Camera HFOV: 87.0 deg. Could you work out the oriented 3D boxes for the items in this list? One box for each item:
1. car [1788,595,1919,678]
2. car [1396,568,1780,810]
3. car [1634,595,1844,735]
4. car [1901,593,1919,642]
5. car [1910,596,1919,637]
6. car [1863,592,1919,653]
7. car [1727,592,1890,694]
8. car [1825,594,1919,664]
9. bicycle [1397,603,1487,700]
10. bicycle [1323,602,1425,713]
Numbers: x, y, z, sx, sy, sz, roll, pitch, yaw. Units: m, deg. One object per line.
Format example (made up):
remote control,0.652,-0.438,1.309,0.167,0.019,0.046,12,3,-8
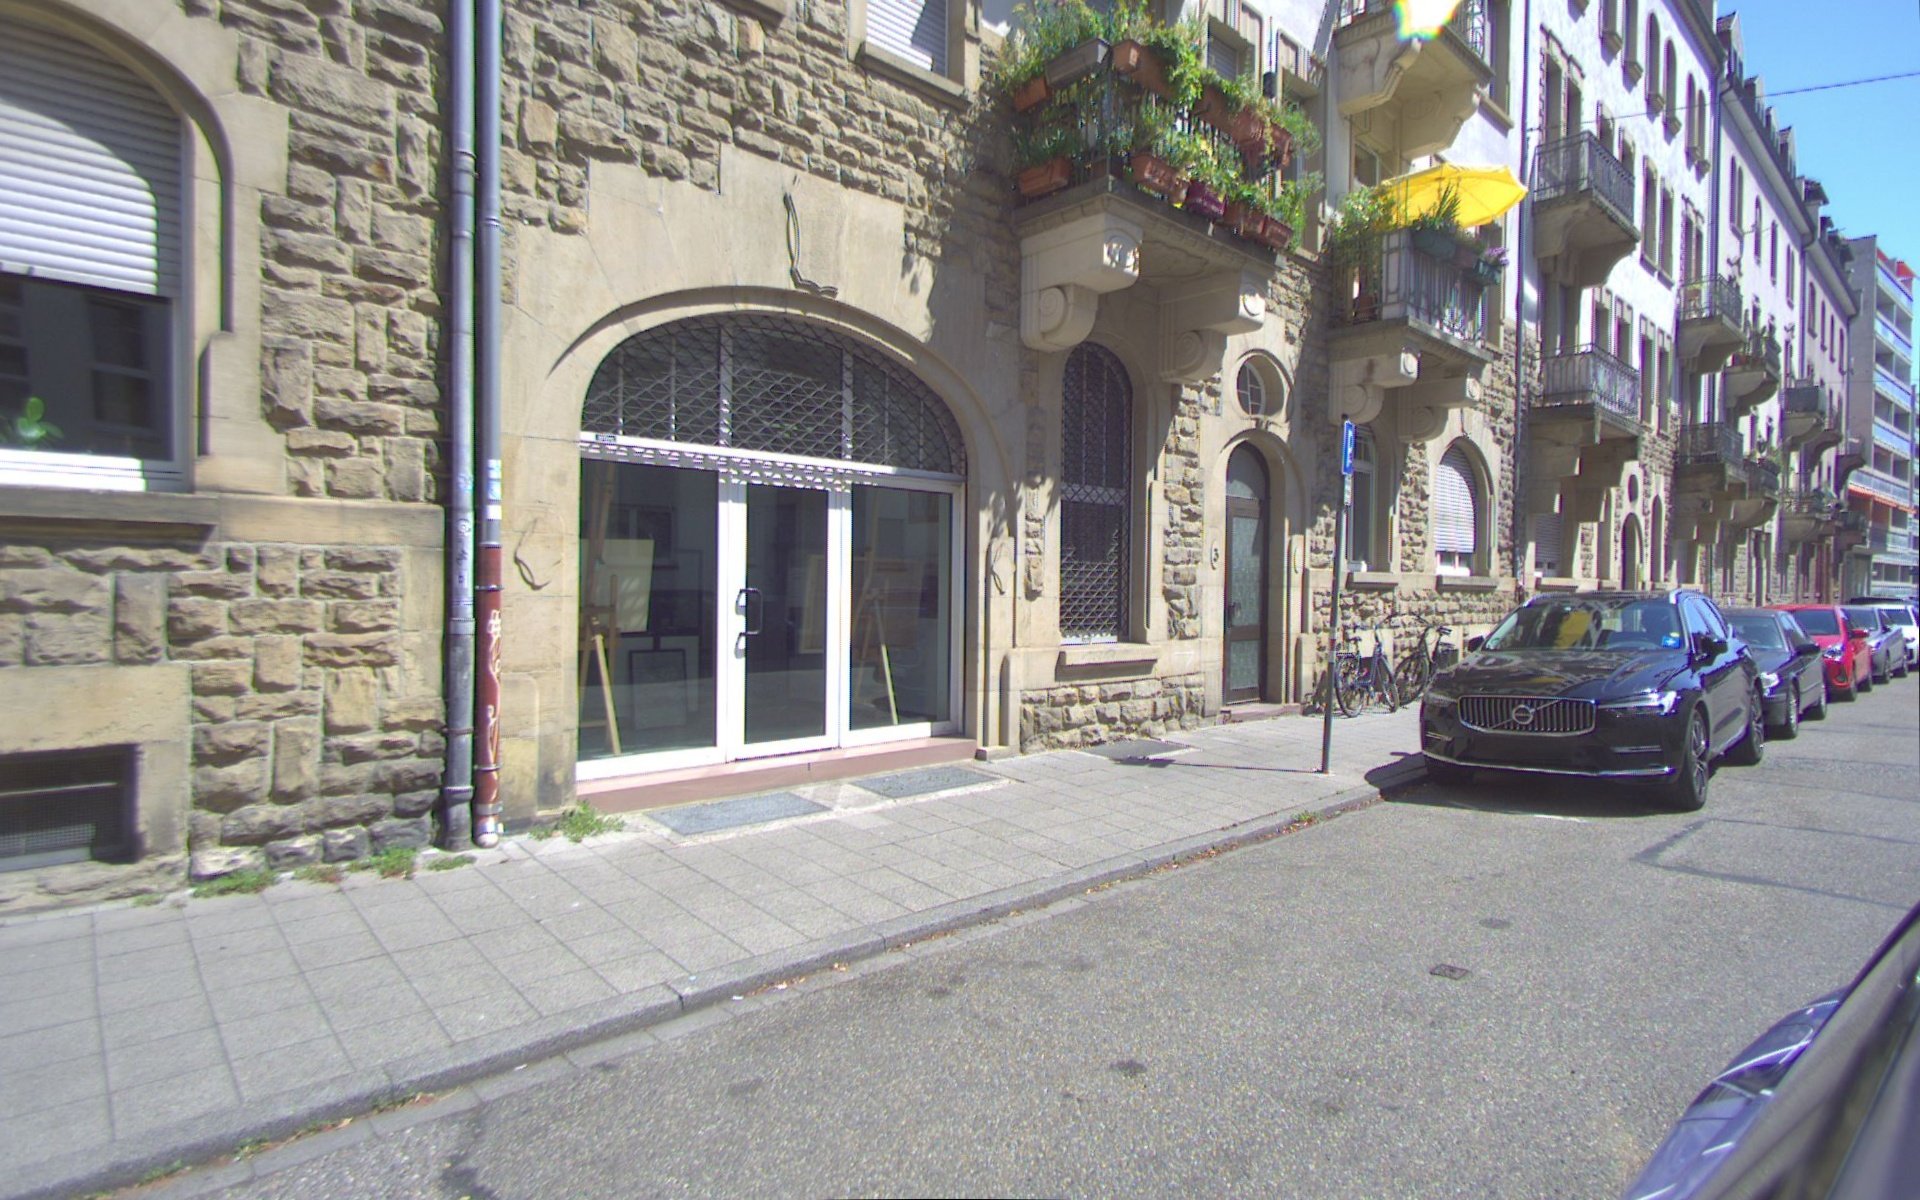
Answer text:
car,17.764,0.655,20.007,3.790,1.471,1.591,-1,-1,-42
car,5.707,0.580,8.919,4.529,1.587,1.834,-1,-1,-44
car,9.567,0.671,12.323,3.908,1.416,1.513,-1,-1,-45
car,30.187,0.524,30.988,4.416,1.450,1.824,0,1,-45
car,34.178,0.578,34.847,4.277,1.375,1.789,0,2,-42
car,25.737,0.556,27.179,4.589,1.476,1.739,-1,2,-43
car,13.983,0.621,16.616,3.778,1.471,1.572,-1,-1,-43
car,21.698,0.622,23.524,4.516,1.471,1.719,-1,-1,-40
bicycle,6.599,0.665,13.823,1.744,1.223,0.442,-1,2,-42
bicycle,5.021,0.655,12.227,1.744,1.223,0.385,-1,2,-42
